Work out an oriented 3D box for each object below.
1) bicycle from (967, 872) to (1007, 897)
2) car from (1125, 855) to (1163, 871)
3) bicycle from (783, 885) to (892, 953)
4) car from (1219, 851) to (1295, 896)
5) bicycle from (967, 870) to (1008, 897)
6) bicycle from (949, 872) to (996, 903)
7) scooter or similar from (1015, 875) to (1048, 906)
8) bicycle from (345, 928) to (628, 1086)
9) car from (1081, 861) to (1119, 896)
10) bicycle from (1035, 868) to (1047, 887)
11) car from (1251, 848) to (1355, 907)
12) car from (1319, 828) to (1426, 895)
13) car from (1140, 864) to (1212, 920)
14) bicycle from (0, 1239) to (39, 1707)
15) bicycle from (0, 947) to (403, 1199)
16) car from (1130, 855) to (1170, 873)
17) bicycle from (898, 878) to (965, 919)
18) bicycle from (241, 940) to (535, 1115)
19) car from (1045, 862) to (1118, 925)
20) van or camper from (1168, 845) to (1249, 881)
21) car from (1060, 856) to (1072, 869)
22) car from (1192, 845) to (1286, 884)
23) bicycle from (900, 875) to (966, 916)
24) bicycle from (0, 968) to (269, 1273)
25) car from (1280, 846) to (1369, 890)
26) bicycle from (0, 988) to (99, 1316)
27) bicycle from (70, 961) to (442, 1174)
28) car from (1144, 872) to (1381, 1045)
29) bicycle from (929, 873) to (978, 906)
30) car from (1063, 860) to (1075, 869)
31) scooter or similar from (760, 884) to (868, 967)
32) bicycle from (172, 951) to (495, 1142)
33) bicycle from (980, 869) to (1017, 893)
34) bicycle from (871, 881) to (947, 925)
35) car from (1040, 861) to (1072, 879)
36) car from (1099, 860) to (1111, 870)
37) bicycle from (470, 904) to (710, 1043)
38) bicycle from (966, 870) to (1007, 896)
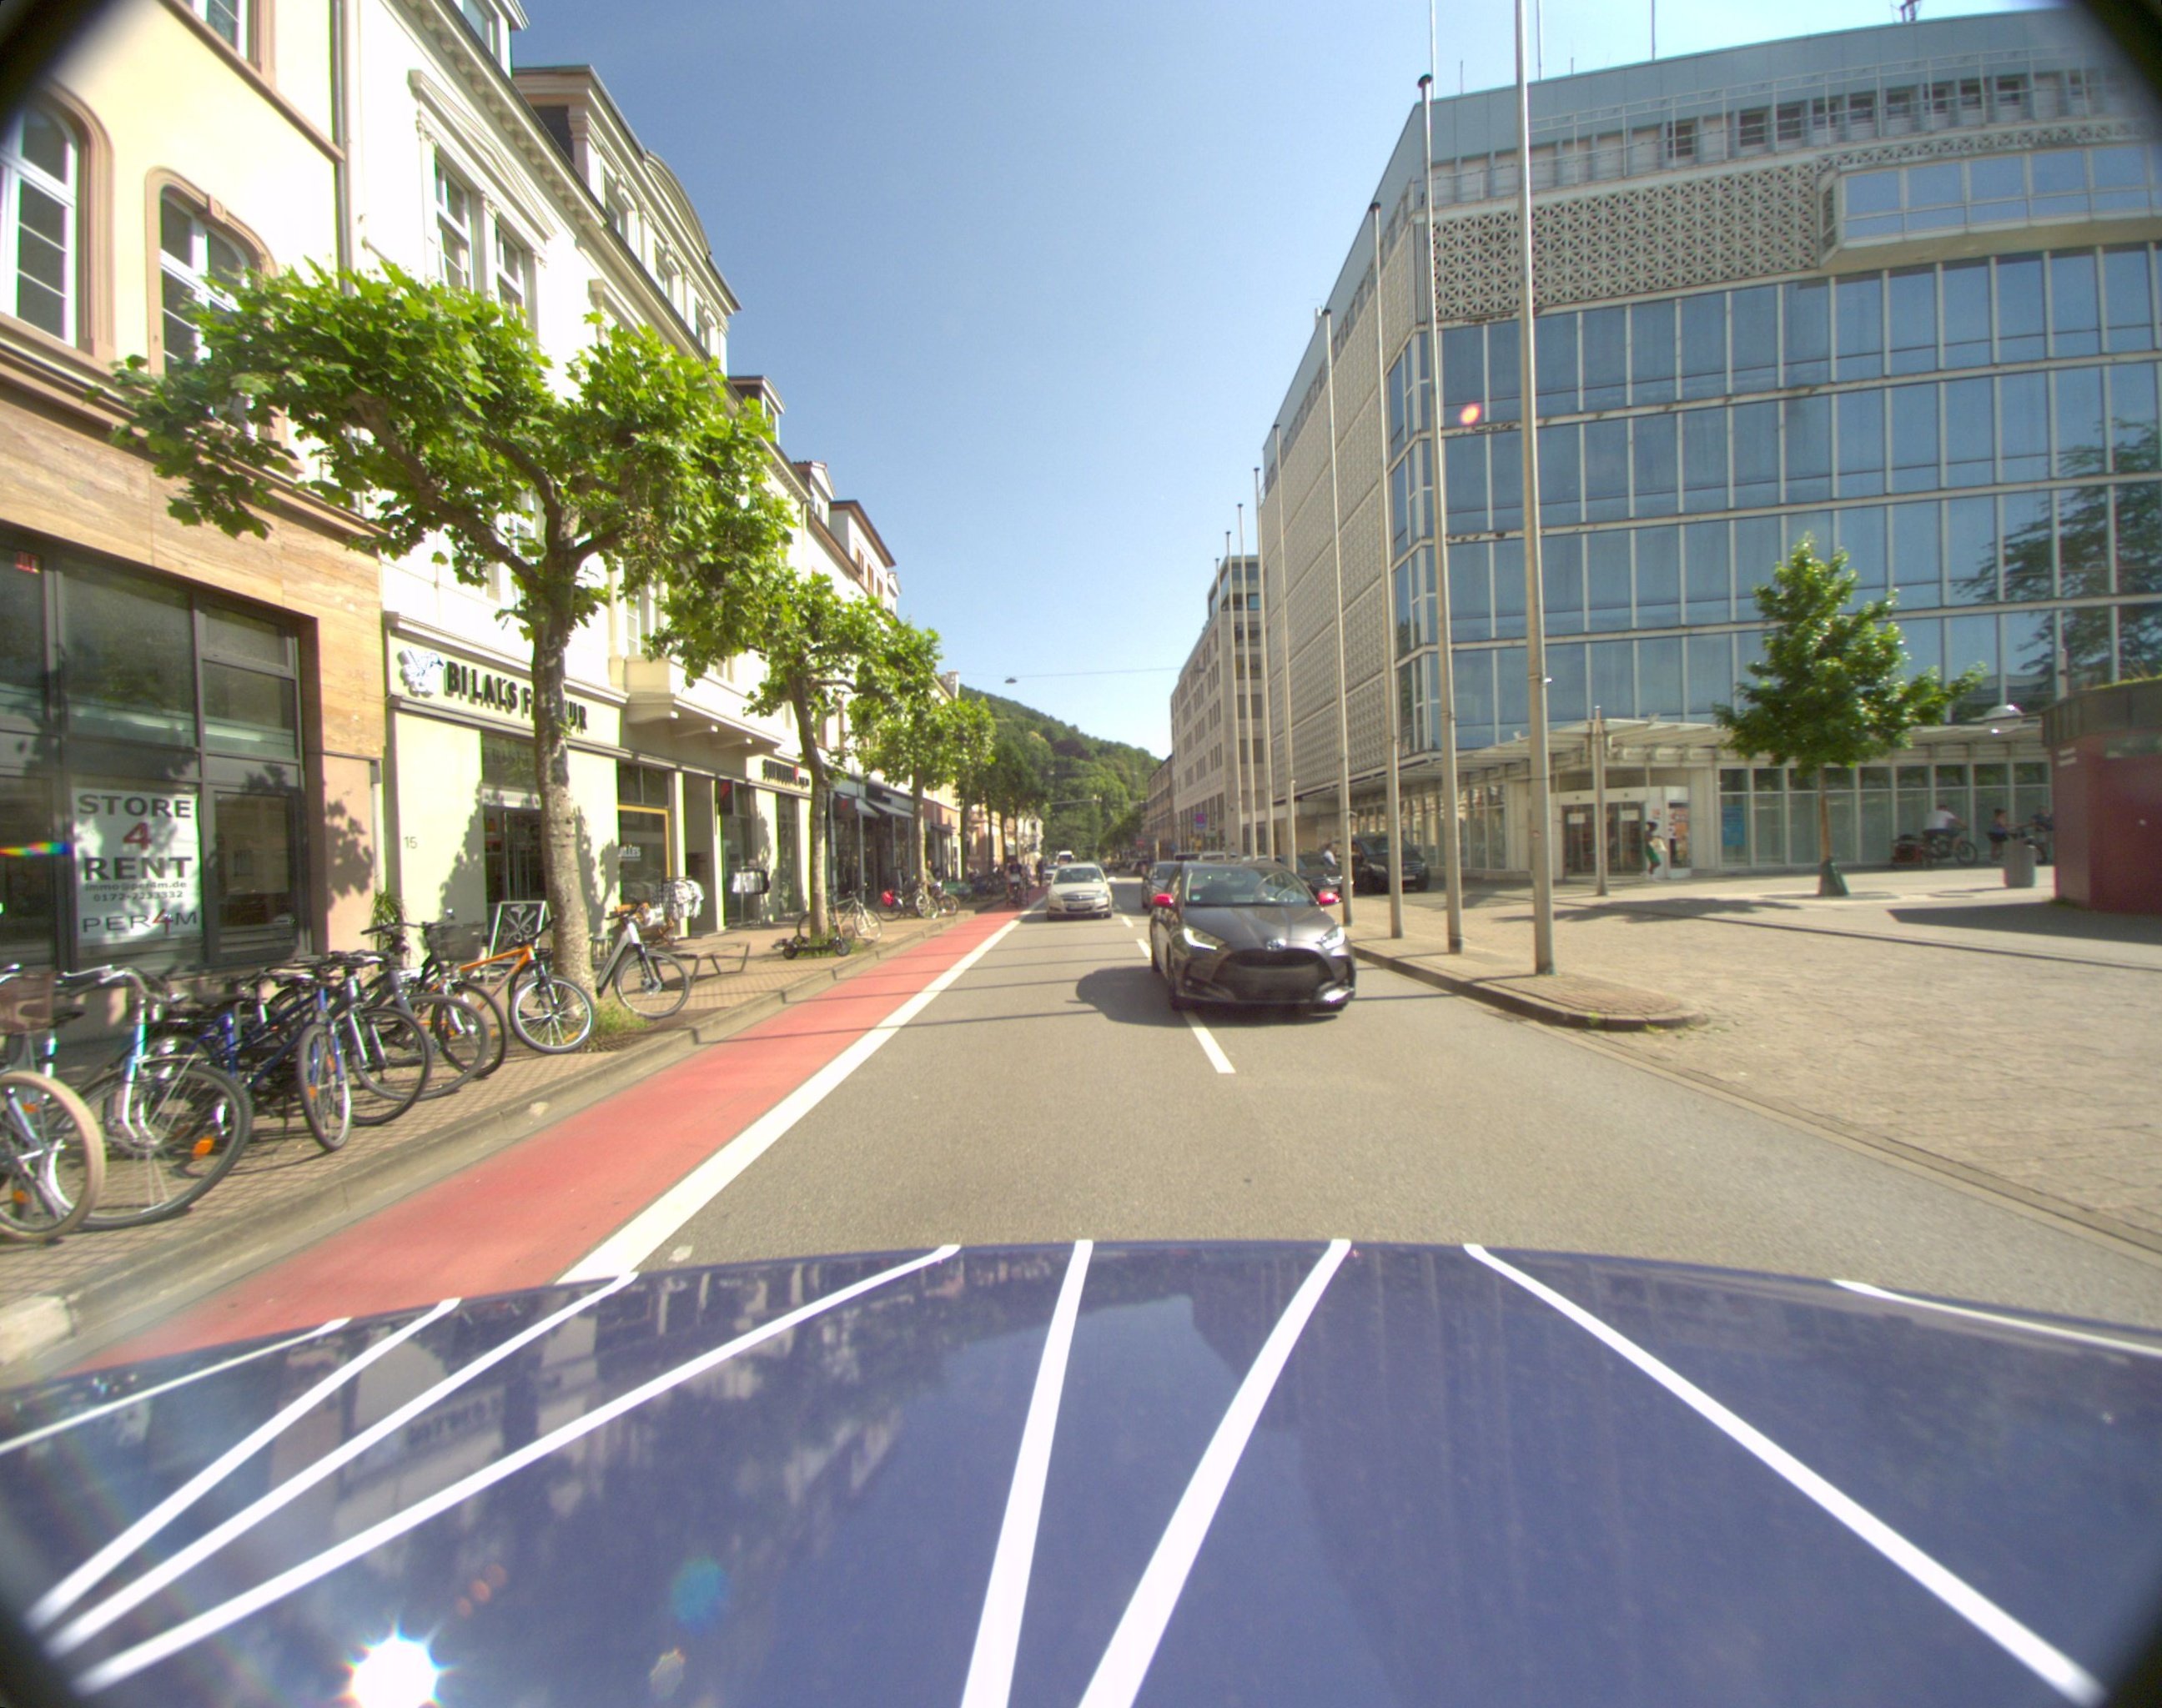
[{"bbox_3d":[-4.532,1.460,36.639,1.846,1.087,0.564,-3,1,-10],"label":"bicycle"},{"bbox_3d":[8.231,1.180,99.790,4.493,1.424,1.865,-7,0,20],"label":"car"},{"bbox_3d":[-4.741,1.263,14.829,1.844,1.179,0.670,-3,0,6],"label":"bicycle"},{"bbox_3d":[6.705,0.717,29.435,1.803,1.514,4.739,-3,-1,1],"label":"car"},{"bbox_3d":[-4.440,1.394,36.138,1.846,1.120,0.632,-4,1,-10],"label":"bicycle"},{"bbox_3d":[-4.525,1.383,31.684,1.845,1.120,0.497,-4,-1,-7],"label":"bicycle"},{"bbox_3d":[-1.842,1.355,28.560,0.784,1.054,1.127,-3,0,21],"label":"scooter or similar"},{"bbox_3d":[-4.828,1.224,6.248,1.732,1.102,0.736,-2,0,3],"label":"bicycle"},{"bbox_3d":[0.917,1.203,39.274,1.775,1.470,4.105,-3,2,0],"label":"car"},{"bbox_3d":[-2.554,1.472,48.480,0.607,1.120,1.860,0,1,2],"label":"bicycle"},{"bbox_3d":[6.752,0.666,23.636,1.765,1.590,4.709,-2,0,0],"label":"car"},{"bbox_3d":[9.789,0.253,25.929,1.836,2.002,4.685,-2,0,1],"label":"car"},{"bbox_3d":[2.696,1.036,22.388,1.733,1.389,4.107,-2,0,2],"label":"car"},{"bbox_3d":[-2.042,1.211,0.201,0.700,1.120,2.081,-3,0,-3],"label":"bicycle"},{"bbox_3d":[-4.831,1.180,4.201,1.732,1.210,0.477,-2,0,3],"label":"bicycle"},{"bbox_3d":[7.826,1.107,85.788,4.166,1.627,2.103,-6,0,9],"label":"car"},{"bbox_3d":[-4.450,1.319,22.590,1.843,1.120,0.498,-3,0,12],"label":"bicycle"},{"bbox_3d":[-4.889,1.215,5.397,1.732,1.102,0.402,-2,0,3],"label":"bicycle"},{"bbox_3d":[-0.057,1.021,21.361,1.791,1.483,4.367,-2,0,-2],"label":"car"},{"bbox_3d":[8.215,0.604,49.078,4.648,2.001,2.004,-4,-1,40],"label":"van or camper"},{"bbox_3d":[-2.519,1.499,126.839,1.703,1.900,4.607,-6,-1,-2],"label":"car"},{"bbox_3d":[8.465,0.570,40.920,4.434,1.898,2.014,-3,-1,37],"label":"car"},{"bbox_3d":[-4.606,1.287,23.658,1.843,1.190,0.674,-3,0,8],"label":"bicycle"},{"bbox_3d":[-4.831,1.188,3.476,1.732,1.210,0.477,-2,0,3],"label":"bicycle"},{"bbox_3d":[9.981,0.545,31.552,1.999,1.601,4.399,-3,0,-4],"label":"car"},{"bbox_3d":[-5.022,1.199,2.988,1.732,1.210,0.477,-2,0,3],"label":"bicycle"},{"bbox_3d":[-4.907,1.258,4.564,1.732,1.102,0.477,-2,0,3],"label":"bicycle"},{"bbox_3d":[1.731,0.943,8.612,1.868,1.469,4.108,0,-1,2],"label":"car"},{"bbox_3d":[-5.023,1.381,30.024,1.783,1.190,0.576,-3,0,-27],"label":"bicycle"},{"bbox_3d":[-2.121,1.801,131.851,1.868,1.478,4.414,-2,0,-2],"label":"car"},{"bbox_3d":[-4.426,1.181,12.637,1.477,1.267,0.670,-3,0,12],"label":"scooter or similar"},{"bbox_3d":[-4.868,1.242,4.982,1.732,1.102,0.402,-2,0,3],"label":"bicycle"},{"bbox_3d":[-4.320,1.402,39.705,1.849,1.120,0.592,-2,2,-35],"label":"bicycle"},{"bbox_3d":[-4.723,1.337,20.938,1.844,1.090,0.794,-3,0,6],"label":"bicycle"},{"bbox_3d":[-2.348,1.505,72.847,1.956,1.416,4.890,-4,0,10],"label":"car"},{"bbox_3d":[3.550,1.655,114.174,1.734,1.389,4.107,-2,0,1],"label":"car"},{"bbox_3d":[-4.948,1.187,7.731,1.936,1.241,0.736,-2,0,3],"label":"bicycle"},{"bbox_3d":[-4.666,1.424,37.382,1.846,1.120,0.764,-4,2,-12],"label":"bicycle"}]
